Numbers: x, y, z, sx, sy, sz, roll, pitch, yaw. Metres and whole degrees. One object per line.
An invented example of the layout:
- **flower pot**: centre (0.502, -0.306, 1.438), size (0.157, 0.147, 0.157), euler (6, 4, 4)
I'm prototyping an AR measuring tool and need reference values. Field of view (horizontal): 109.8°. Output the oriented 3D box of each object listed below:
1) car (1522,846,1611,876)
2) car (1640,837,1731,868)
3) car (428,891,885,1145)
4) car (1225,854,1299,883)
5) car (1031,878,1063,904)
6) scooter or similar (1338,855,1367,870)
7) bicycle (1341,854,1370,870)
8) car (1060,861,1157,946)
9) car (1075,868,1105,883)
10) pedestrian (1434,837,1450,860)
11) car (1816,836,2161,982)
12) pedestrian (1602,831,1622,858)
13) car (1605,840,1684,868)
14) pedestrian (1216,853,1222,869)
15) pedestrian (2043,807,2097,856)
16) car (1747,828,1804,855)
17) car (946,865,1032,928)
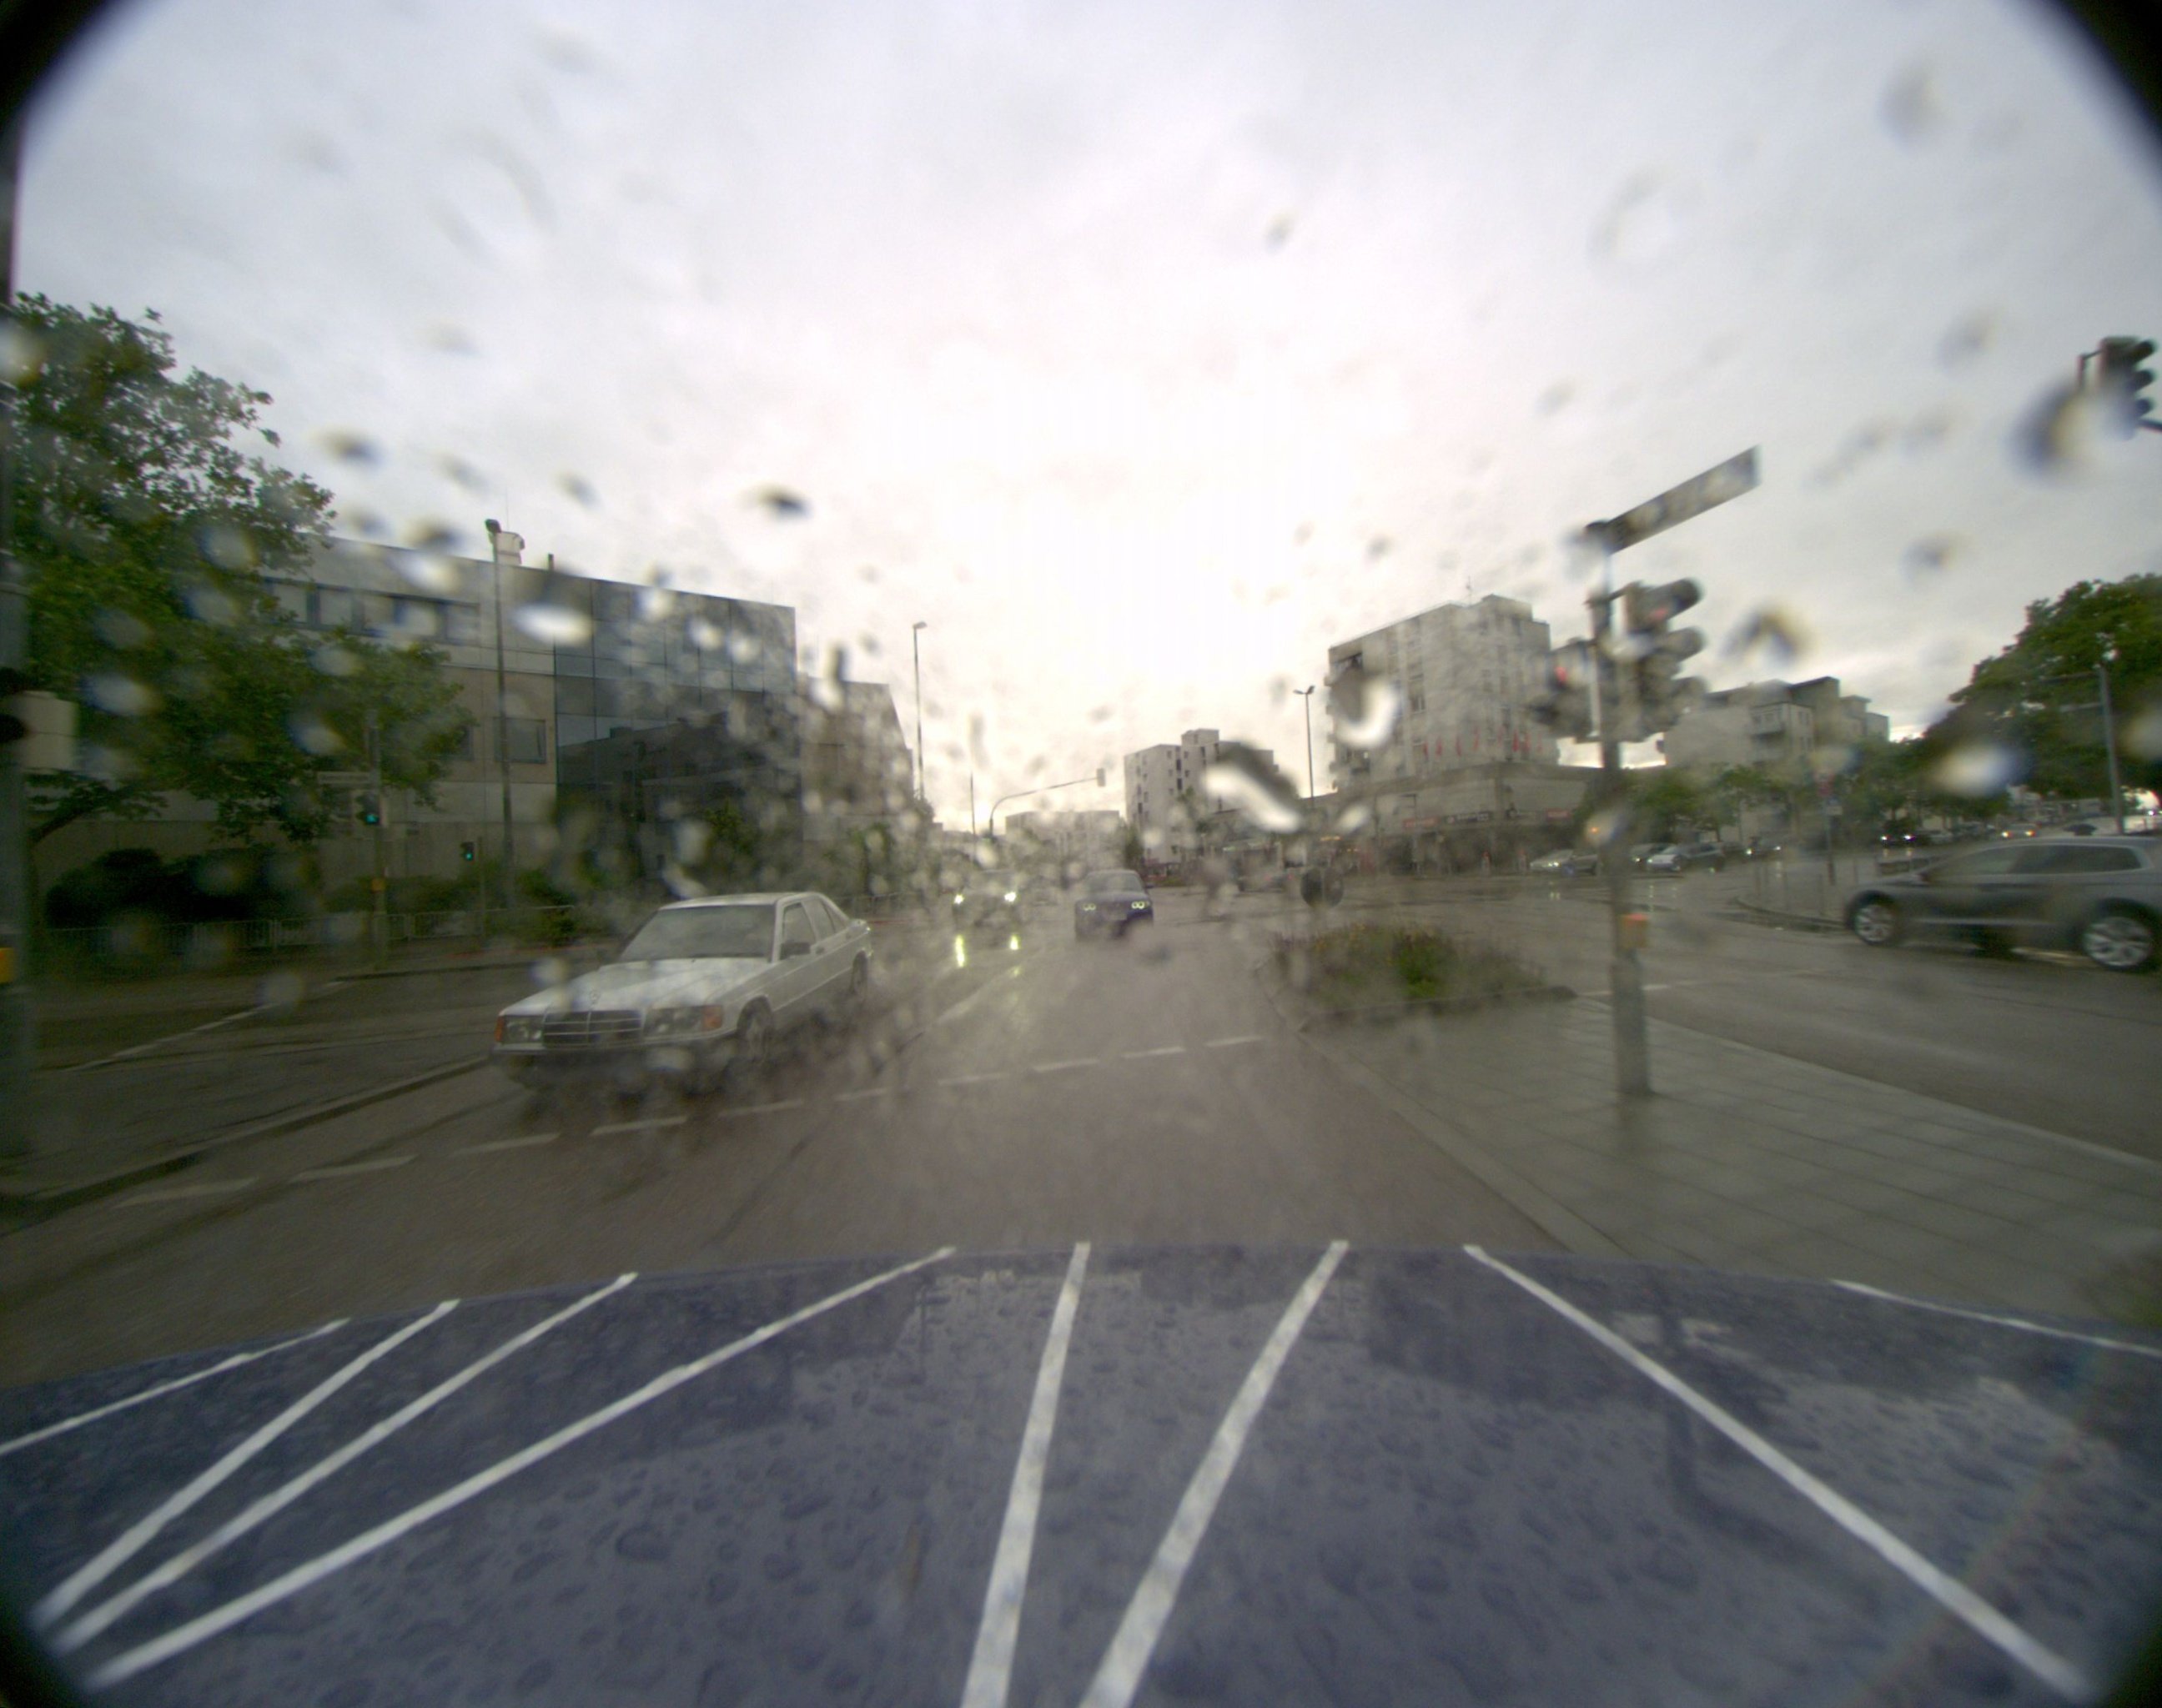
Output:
- **car**: centre (27.195, 0.382, 42.594), size (4.208, 1.586, 1.868), euler (-1, 0, -15)
- **car**: centre (32.634, -0.072, 41.026), size (4.061, 1.411, 1.771), euler (-3, -1, -16)
- **car**: centre (-3.267, 1.148, 6.979), size (1.638, 1.439, 4.270), euler (-4, -2, 1)
- **car**: centre (10.813, 0.844, 45.752), size (1.928, 1.622, 4.895), euler (-1, 0, -19)
- **car**: centre (-2.137, 2.245, 46.786), size (1.636, 1.377, 4.513), euler (-4, -1, -6)
- **scooter or similar**: centre (23.216, 0.722, 65.051), size (2.596, 1.167, 0.642), euler (-3, -1, -26)
- **bicycle**: centre (24.295, 0.697, 67.291), size (2.556, 1.215, 0.695), euler (-4, -1, -25)
- **car**: centre (0.722, 1.011, 16.589), size (1.675, 1.533, 3.916), euler (-4, -2, 7)
- **car**: centre (1.137, 2.720, 96.645), size (1.894, 1.672, 4.498), euler (-4, -1, -26)
- **pedestrian**: centre (28.584, -0.421, 60.230), size (0.715, 1.681, 0.658), euler (-6, -6, 2)
- **car**: centre (12.736, 0.618, 9.961), size (1.880, 1.584, 4.525), euler (1, 0, 2)
- **pedestrian**: centre (37.562, -0.683, 53.748), size (0.720, 1.882, 0.808), euler (-3, -1, -11)
- **car**: centre (33.437, 0.020, 45.106), size (4.063, 1.411, 1.867), euler (-2, -1, -22)
- **pedestrian**: centre (16.139, 0.872, 88.858), size (0.427, 1.837, 0.500), euler (-4, -1, -18)
- **pedestrian**: centre (42.973, -0.957, 33.021), size (1.330, 2.001, 1.163), euler (-3, -1, -31)
- **car**: centre (46.529, -0.841, 50.891), size (4.006, 1.585, 1.713), euler (-3, -1, -32)
- **car**: centre (-2.676, 1.211, 23.104), size (1.906, 1.611, 4.336), euler (-4, -1, 1)
